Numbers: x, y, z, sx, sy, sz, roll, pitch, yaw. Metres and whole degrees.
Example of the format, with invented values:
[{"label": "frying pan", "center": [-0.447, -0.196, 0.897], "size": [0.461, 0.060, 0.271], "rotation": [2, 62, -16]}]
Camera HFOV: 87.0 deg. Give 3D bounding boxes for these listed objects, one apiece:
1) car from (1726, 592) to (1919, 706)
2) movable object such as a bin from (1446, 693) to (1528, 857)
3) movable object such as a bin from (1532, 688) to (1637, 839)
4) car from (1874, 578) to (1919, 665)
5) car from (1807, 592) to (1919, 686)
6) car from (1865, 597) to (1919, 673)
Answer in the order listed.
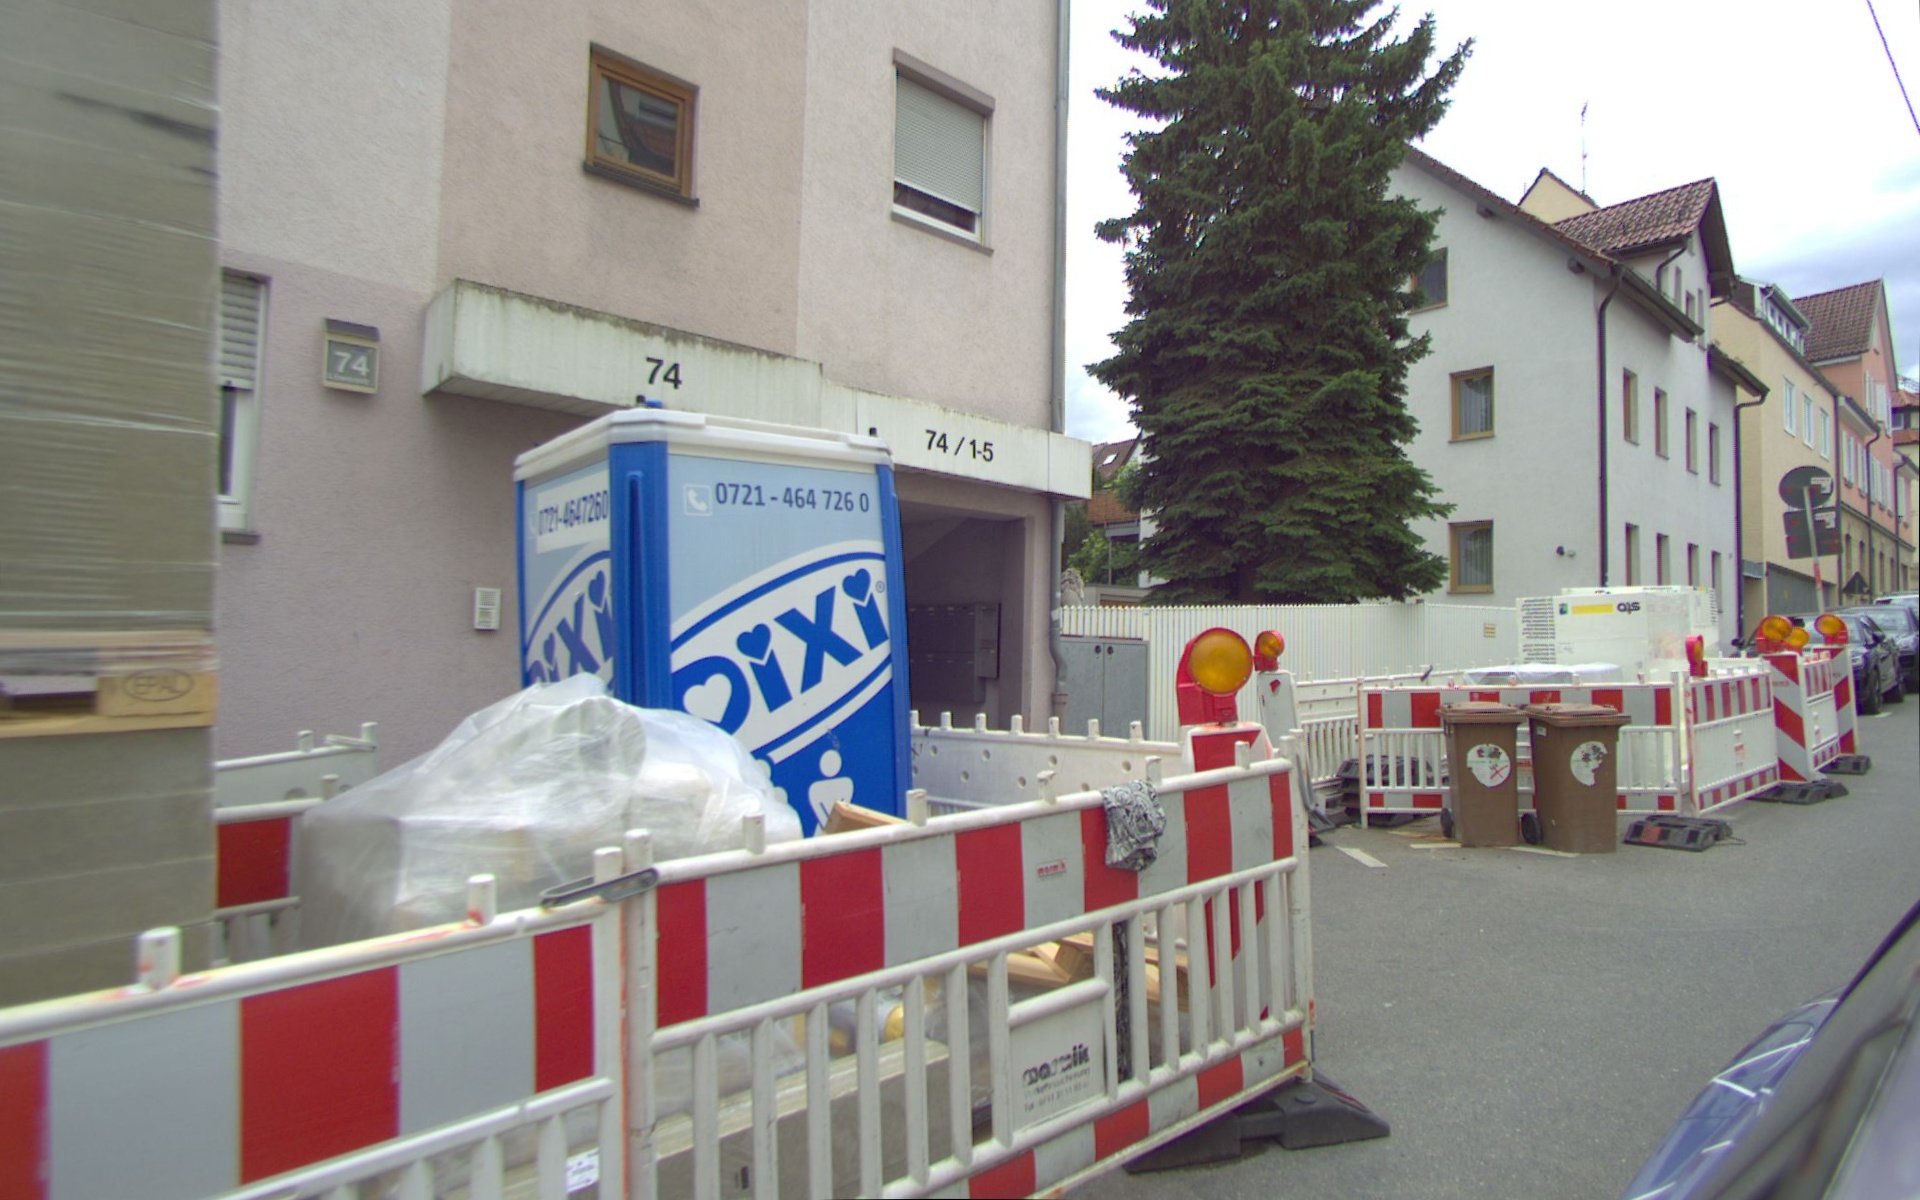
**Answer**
[{"label": "car", "center": [13.780, 0.743, 16.050], "size": [4.001, 1.586, 1.717], "rotation": [1, -3, -40]}, {"label": "movable object such as a bin", "center": [3.484, 1.138, 6.714], "size": [0.445, 0.990, 0.397], "rotation": [1, -2, 26]}, {"label": "movable object such as a bin", "center": [3.997, 1.033, 6.493], "size": [0.356, 0.904, 0.401], "rotation": [-2, -3, -3]}, {"label": "car", "center": [24.954, 0.529, 25.644], "size": [5.632, 2.056, 1.908], "rotation": [1, -3, -41]}, {"label": "car", "center": [17.796, 0.732, 19.402], "size": [4.421, 1.617, 1.715], "rotation": [1, -4, -42]}, {"label": "car", "center": [21.273, 0.755, 22.408], "size": [2.742, 1.617, 1.488], "rotation": [1, -4, -42]}]
